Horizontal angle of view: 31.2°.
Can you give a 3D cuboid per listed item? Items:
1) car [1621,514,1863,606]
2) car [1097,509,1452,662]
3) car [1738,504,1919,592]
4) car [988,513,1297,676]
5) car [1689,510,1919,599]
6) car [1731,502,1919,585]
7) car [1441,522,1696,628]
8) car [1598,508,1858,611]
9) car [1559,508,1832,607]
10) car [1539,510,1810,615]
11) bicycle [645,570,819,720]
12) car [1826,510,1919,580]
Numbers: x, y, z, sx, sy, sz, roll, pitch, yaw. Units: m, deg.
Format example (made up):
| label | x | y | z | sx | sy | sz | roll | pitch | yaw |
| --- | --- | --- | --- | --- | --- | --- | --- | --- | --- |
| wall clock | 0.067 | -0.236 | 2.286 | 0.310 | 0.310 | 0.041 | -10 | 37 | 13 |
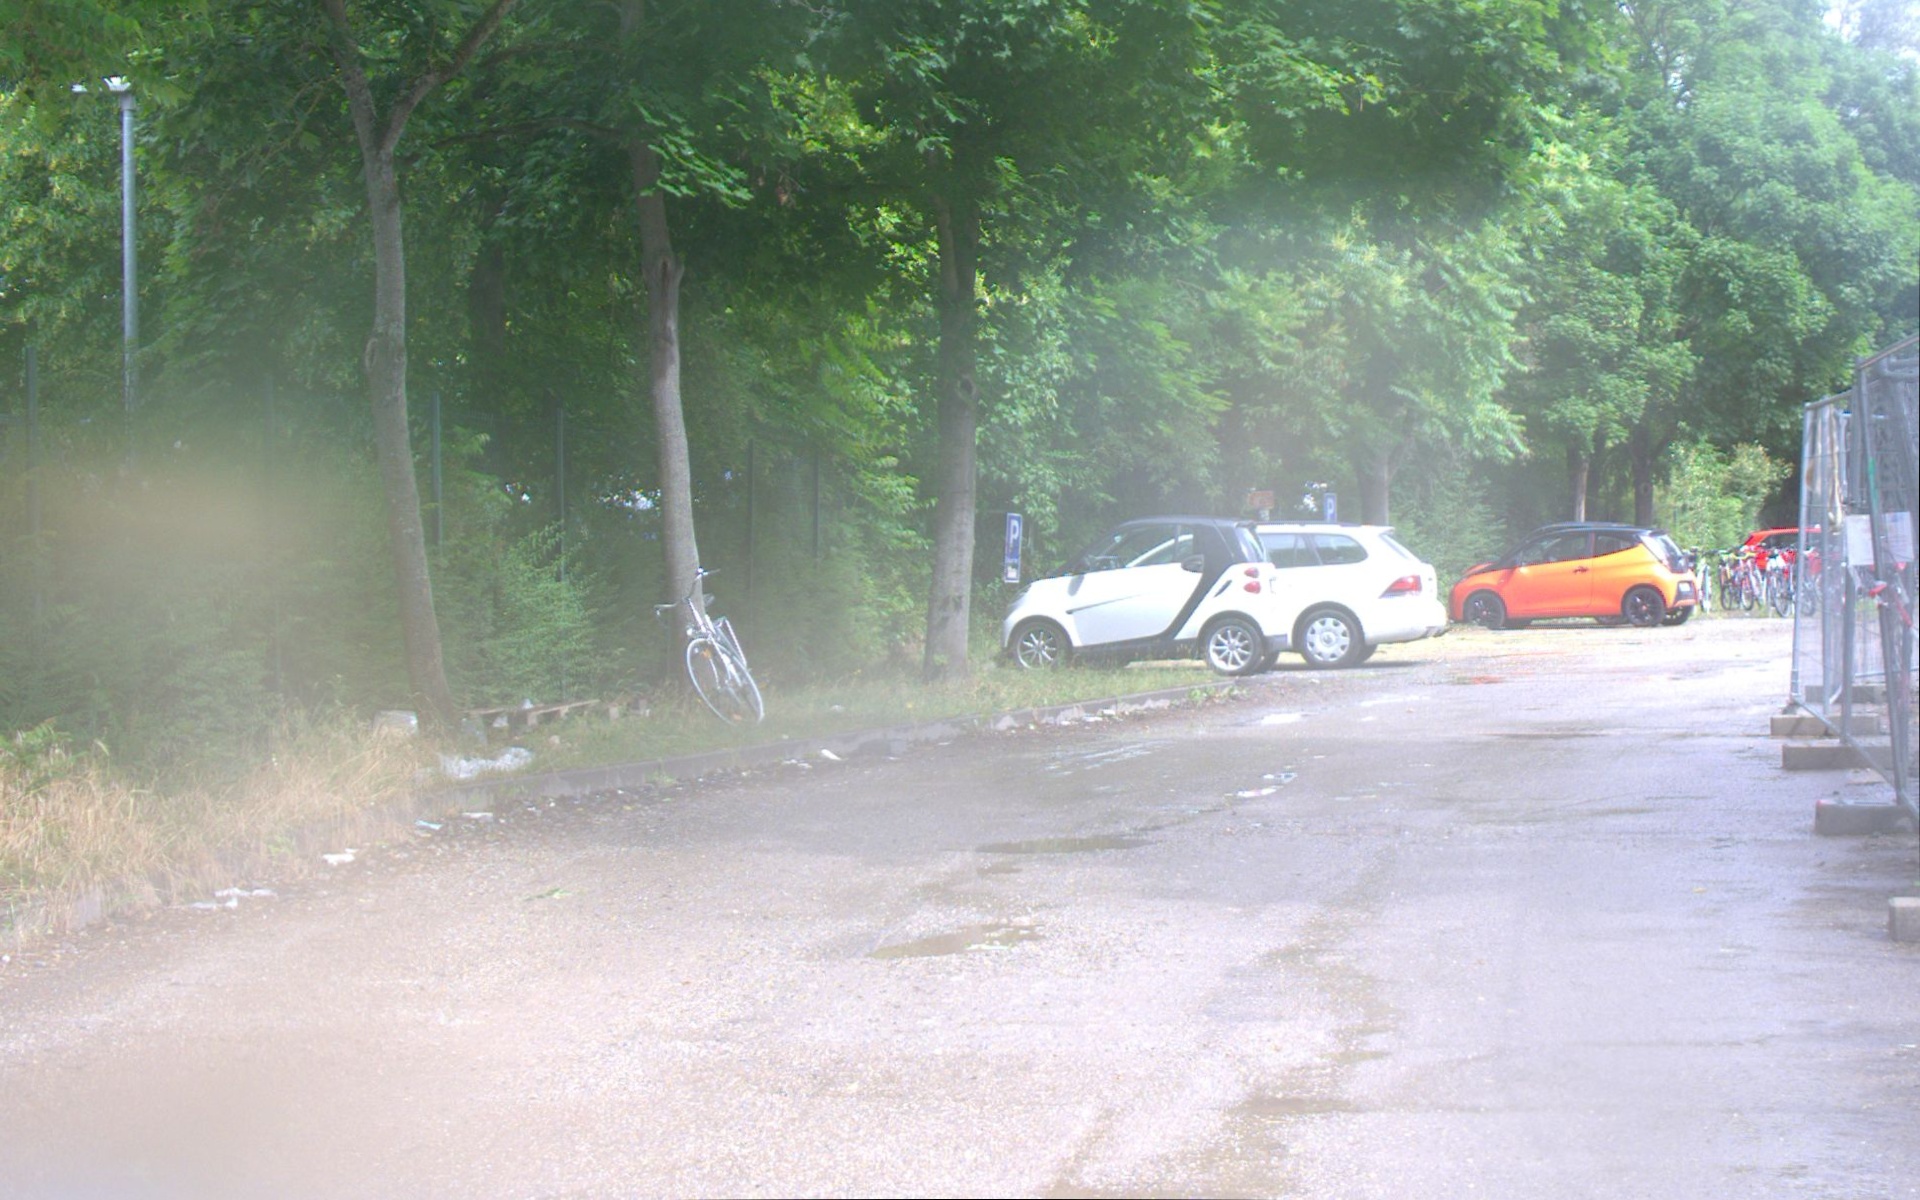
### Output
| label | x | y | z | sx | sy | sz | roll | pitch | yaw |
| --- | --- | --- | --- | --- | --- | --- | --- | --- | --- |
| car | 13.698 | -0.713 | 60.185 | 3.946 | 1.511 | 1.804 | 1 | 3 | 19 |
| car | 3.259 | -0.159 | 35.314 | 3.433 | 1.463 | 1.740 | -1 | 2 | 11 |
| car | 16.880 | -1.022 | 66.177 | 3.590 | 1.615 | 1.868 | 1 | 3 | 17 |
| car | 1.792 | -0.063 | 33.301 | 2.755 | 1.479 | 1.592 | -1 | 2 | 11 |
| car | 15.631 | -0.868 | 63.526 | 3.991 | 1.554 | 1.762 | 1 | 3 | 21 |
| car | 17.429 | -1.138 | 68.429 | 3.860 | 1.568 | 1.956 | 1 | 3 | 20 |
| car | 8.746 | -0.386 | 49.386 | 3.288 | 1.420 | 1.590 | 1 | 3 | 26 |
| car | 12.985 | -0.705 | 58.112 | 4.111 | 1.644 | 1.845 | 1 | 3 | 19 |
| car | 11.879 | -0.710 | 55.493 | 3.992 | 1.491 | 1.991 | 1 | 3 | 23 |
| car | 11.105 | -0.608 | 53.415 | 3.798 | 1.524 | 1.907 | 1 | 3 | 24 |
| bicycle | -1.425 | 0.269 | 21.752 | 0.476 | 0.857 | 1.454 | 1 | 3 | 24 |
| car | 22.356 | -1.294 | 80.437 | 3.860 | 1.568 | 1.956 | 1 | 3 | 20 |
